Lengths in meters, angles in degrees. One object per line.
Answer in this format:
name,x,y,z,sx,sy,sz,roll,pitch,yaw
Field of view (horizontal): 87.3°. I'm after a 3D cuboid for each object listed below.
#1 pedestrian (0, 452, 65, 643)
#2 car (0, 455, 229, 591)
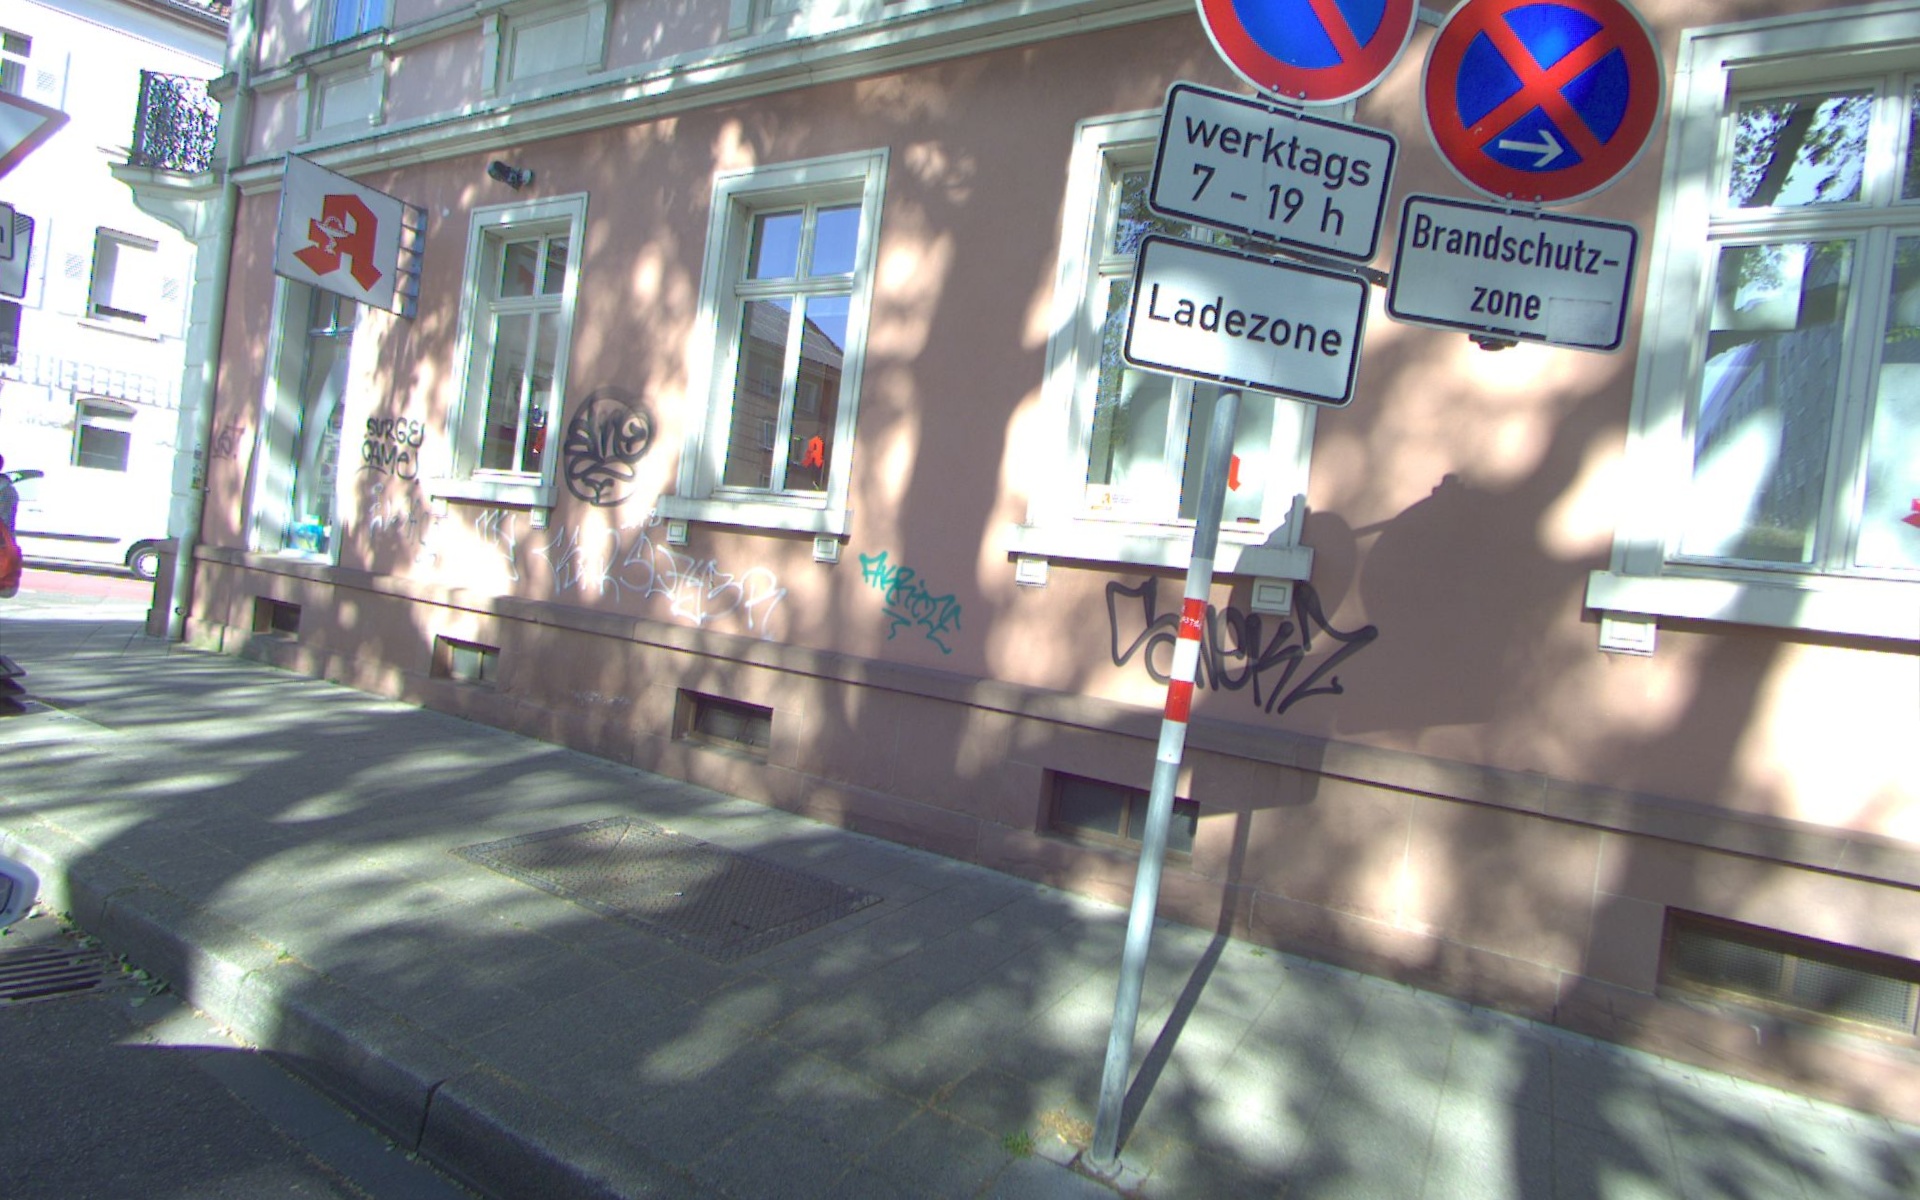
pedestrian,-8.361,-0.468,8.613,0.832,1.596,0.843,6,5,32
car,-16.704,-1.511,18.605,4.983,1.969,2.030,8,-1,-37
